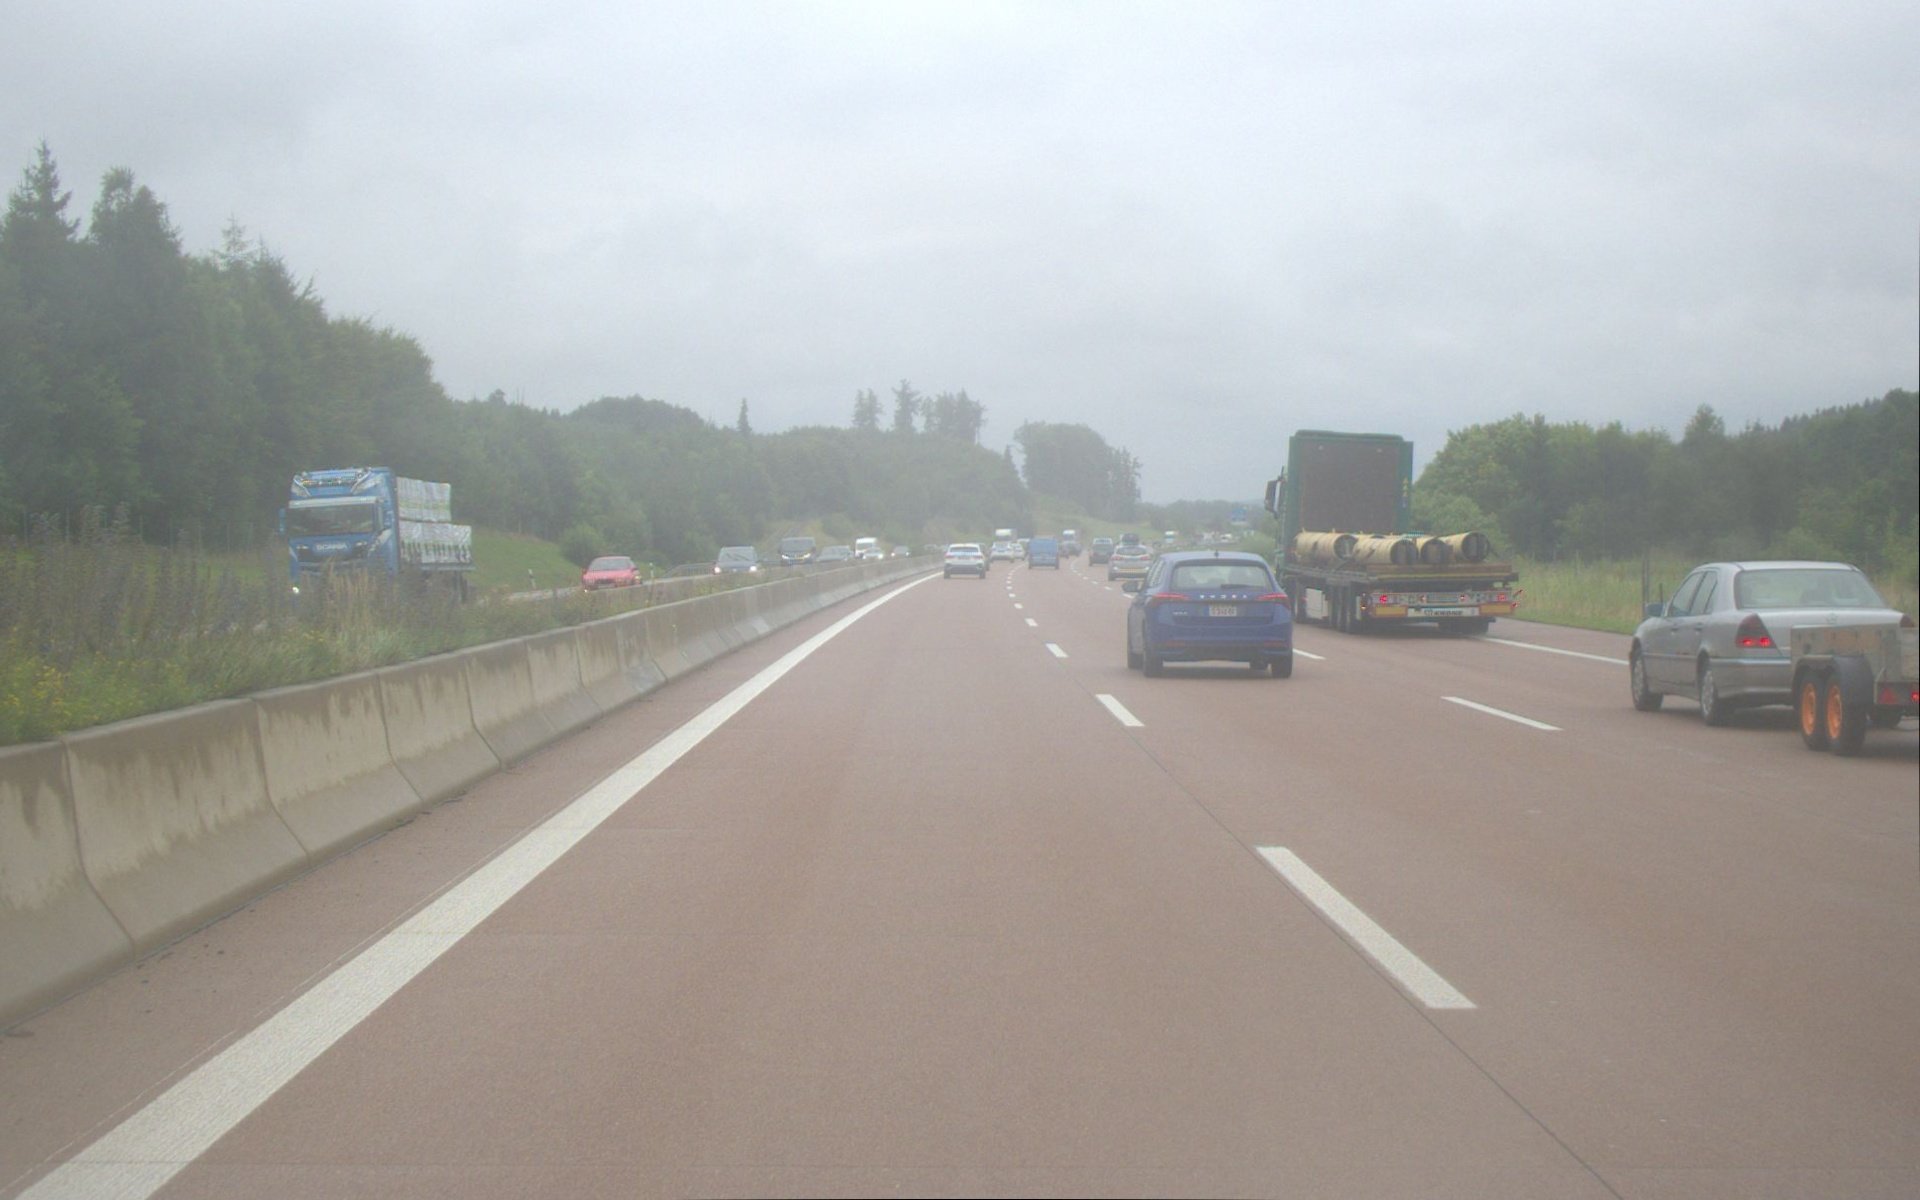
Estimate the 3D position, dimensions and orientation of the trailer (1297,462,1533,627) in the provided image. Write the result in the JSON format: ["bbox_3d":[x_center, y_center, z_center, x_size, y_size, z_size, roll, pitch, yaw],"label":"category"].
[{"bbox_3d":[8.026,-0.902,62.079,2.881,2.666,11.398,1,0,1],"label":"trailer"}]

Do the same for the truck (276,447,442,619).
[{"bbox_3d":[-16.239,-1.871,93.459,2.964,4.305,7.650,-4,2,-1],"label":"truck"}]

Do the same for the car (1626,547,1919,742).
[{"bbox_3d":[7.306,0.359,30.848,1.698,1.606,4.977,0,0,0],"label":"car"}]

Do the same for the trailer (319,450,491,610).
[{"bbox_3d":[-16.370,-2.140,102.451,2.933,4.261,12.947,-4,2,-1],"label":"trailer"}]

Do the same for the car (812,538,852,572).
[{"bbox_3d":[-7.303,-2.575,196.477,1.776,1.850,5.321,1,0,3],"label":"car"}]

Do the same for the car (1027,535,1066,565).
[{"bbox_3d":[5.209,-3.004,207.754,2.322,1.744,4.877,1,0,1],"label":"car"}]

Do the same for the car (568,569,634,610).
[{"bbox_3d":[-12.527,-0.351,120.328,1.818,1.365,5.115,1,0,-1],"label":"car"}]

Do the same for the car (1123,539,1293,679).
[{"bbox_3d":[2.907,0.108,41.072,1.771,1.558,4.146,1,0,1],"label":"car"}]

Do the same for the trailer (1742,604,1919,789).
[{"bbox_3d":[7.429,0.684,26.071,1.971,1.162,4.639,1,1,1],"label":"trailer"}]

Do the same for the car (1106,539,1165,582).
[{"bbox_3d":[7.499,-1.678,147.244,2.322,1.744,4.877,1,0,1],"label":"car"}]

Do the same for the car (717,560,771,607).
[{"bbox_3d":[-8.610,-0.647,137.542,1.818,1.835,6.238,1,0,-1],"label":"car"}]

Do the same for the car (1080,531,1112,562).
[{"bbox_3d":[9.212,-3.612,233.242,1.993,2.007,4.000,1,0,1],"label":"car"}]

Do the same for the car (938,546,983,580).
[{"bbox_3d":[0.016,-1.625,153.071,1.874,1.439,4.877,1,0,-1],"label":"car"}]

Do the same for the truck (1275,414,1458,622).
[{"bbox_3d":[8.136,-1.570,69.528,2.897,3.951,6.988,1,0,1],"label":"truck"}]
